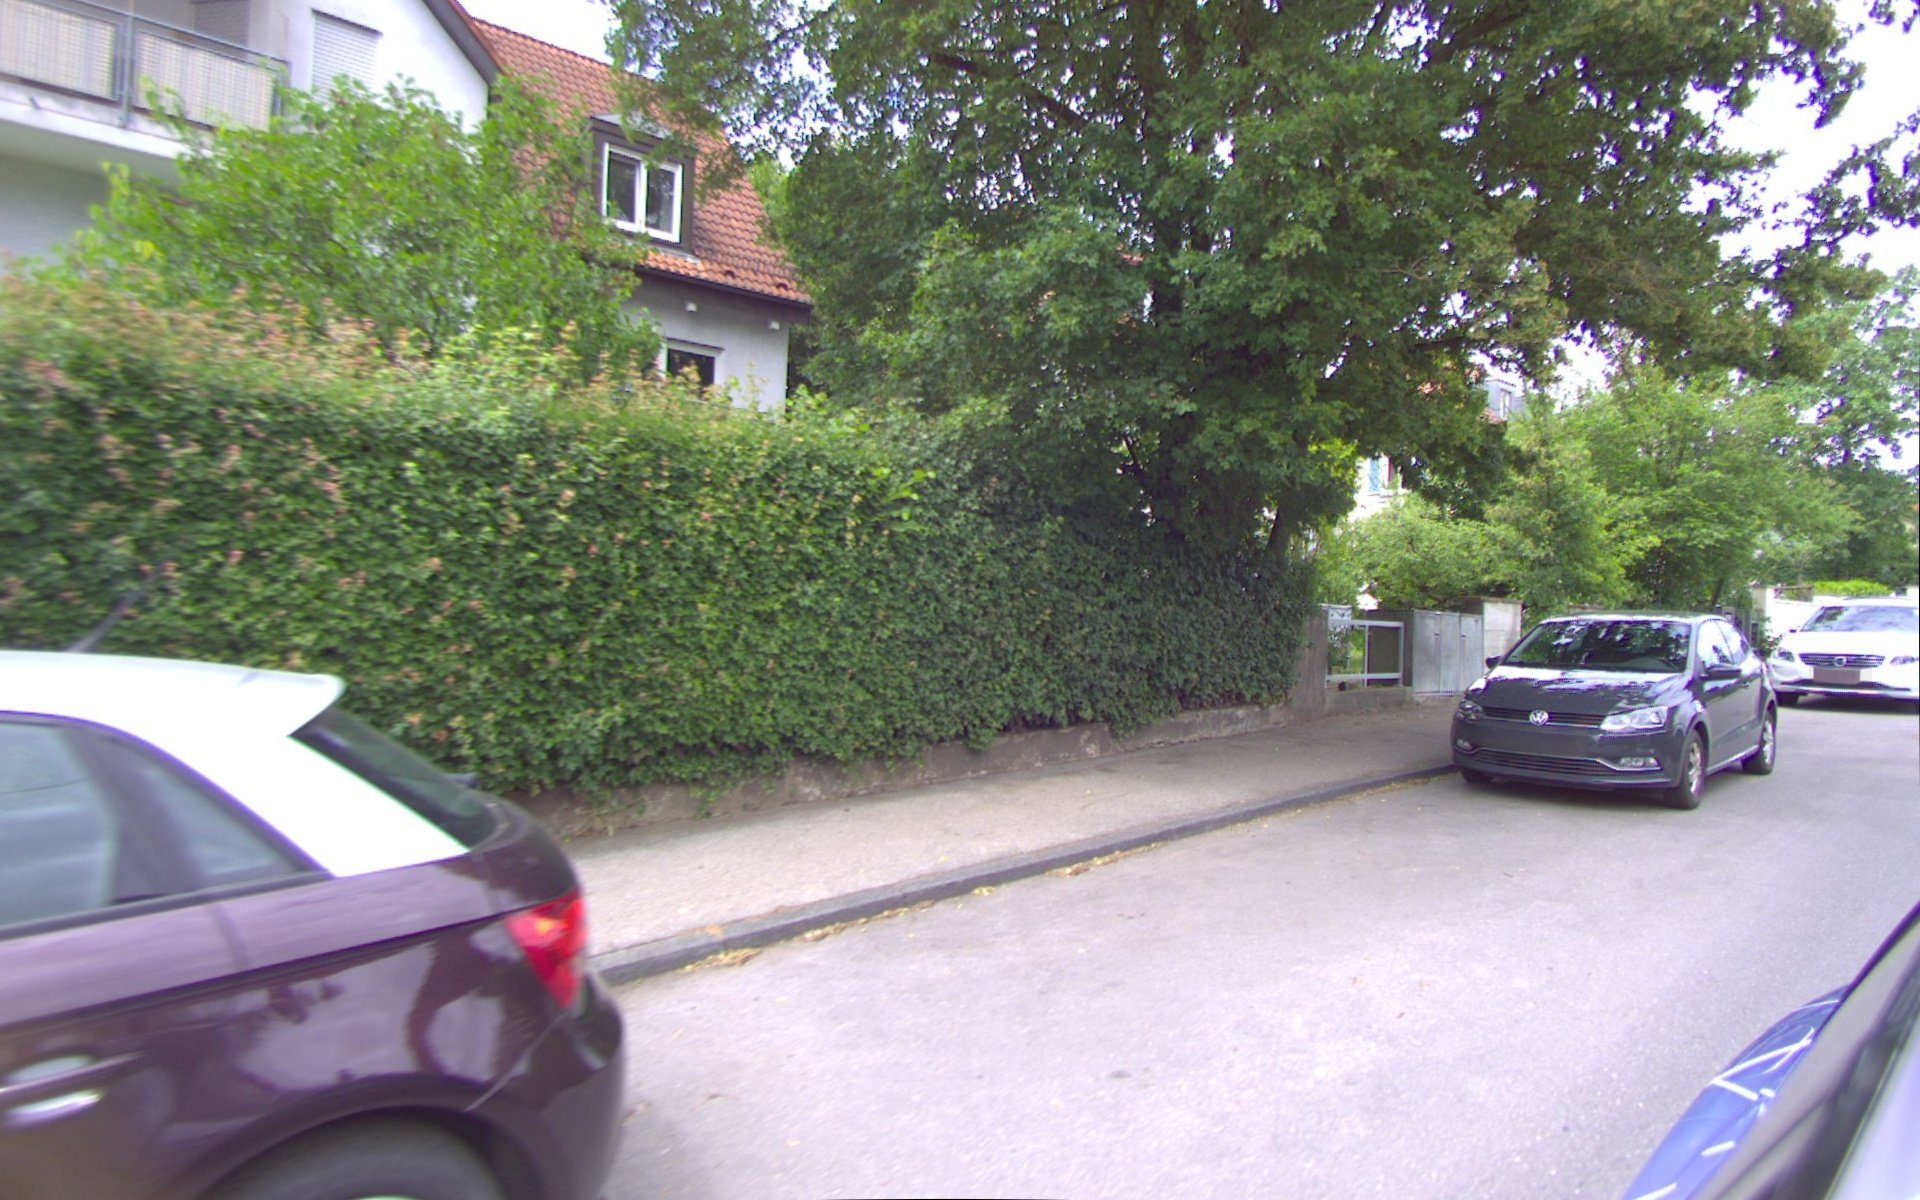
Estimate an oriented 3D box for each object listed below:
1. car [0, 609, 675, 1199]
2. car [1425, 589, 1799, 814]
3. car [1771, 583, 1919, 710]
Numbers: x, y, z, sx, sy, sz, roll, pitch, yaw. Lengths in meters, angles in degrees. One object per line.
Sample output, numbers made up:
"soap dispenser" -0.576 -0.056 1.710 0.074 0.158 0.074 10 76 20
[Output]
"car" -2.521 0.747 1.436 3.724 1.431 1.712 0 -1 -41
"car" 5.689 0.679 8.668 3.723 1.506 1.713 0 0 -41
"car" 14.173 0.621 15.452 4.270 1.706 1.870 0 0 -38
